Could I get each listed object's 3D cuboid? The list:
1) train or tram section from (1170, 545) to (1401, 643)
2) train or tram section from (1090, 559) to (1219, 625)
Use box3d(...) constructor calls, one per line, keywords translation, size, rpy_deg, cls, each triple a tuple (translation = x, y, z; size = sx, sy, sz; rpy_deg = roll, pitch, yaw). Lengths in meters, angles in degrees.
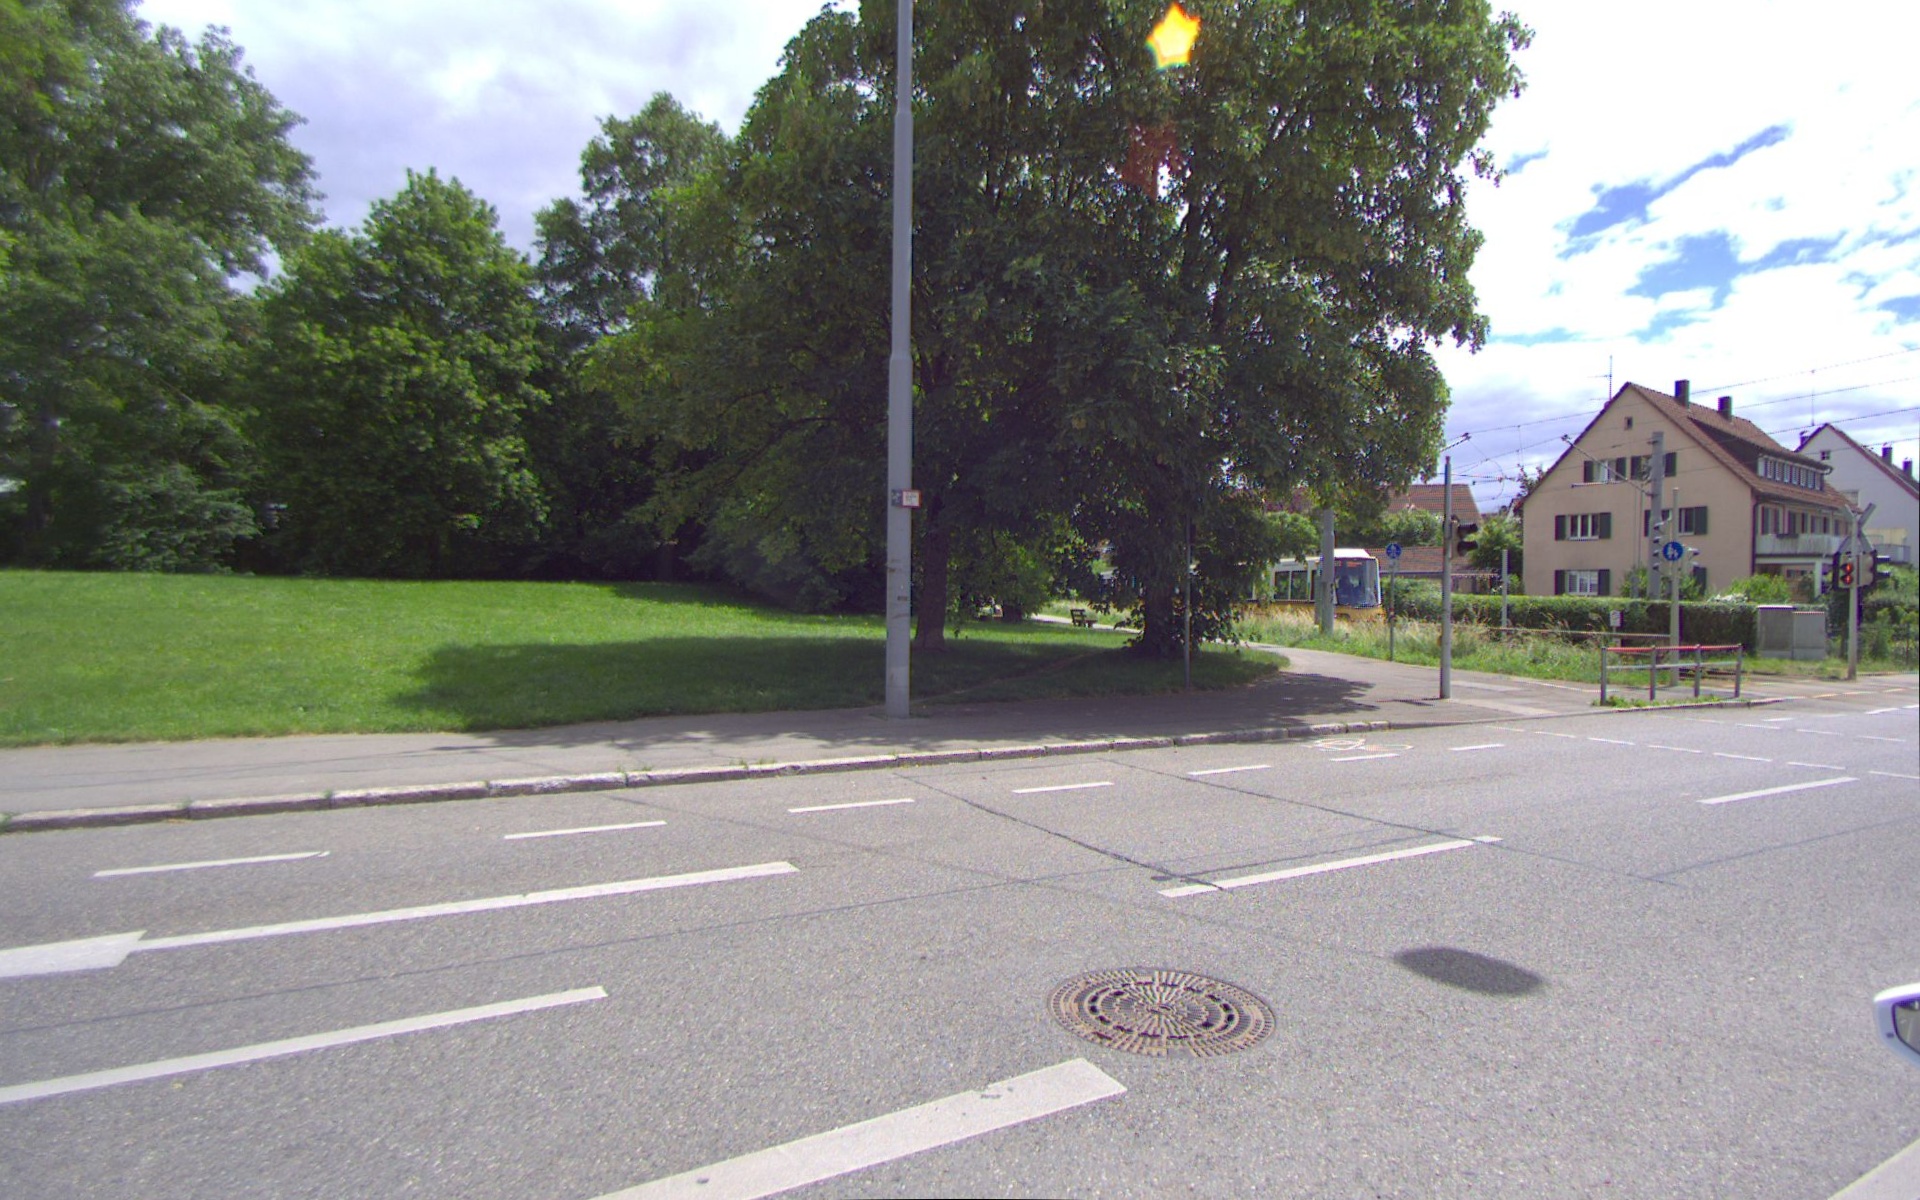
box3d(translation=(14.467, -0.323, 47.955), size=(2.864, 3.754, 19.098), rpy_deg=(1, 1, -6), cls="train or tram section")
box3d(translation=(12.352, -0.535, 66.921), size=(2.864, 3.754, 19.098), rpy_deg=(1, 1, -6), cls="train or tram section")
